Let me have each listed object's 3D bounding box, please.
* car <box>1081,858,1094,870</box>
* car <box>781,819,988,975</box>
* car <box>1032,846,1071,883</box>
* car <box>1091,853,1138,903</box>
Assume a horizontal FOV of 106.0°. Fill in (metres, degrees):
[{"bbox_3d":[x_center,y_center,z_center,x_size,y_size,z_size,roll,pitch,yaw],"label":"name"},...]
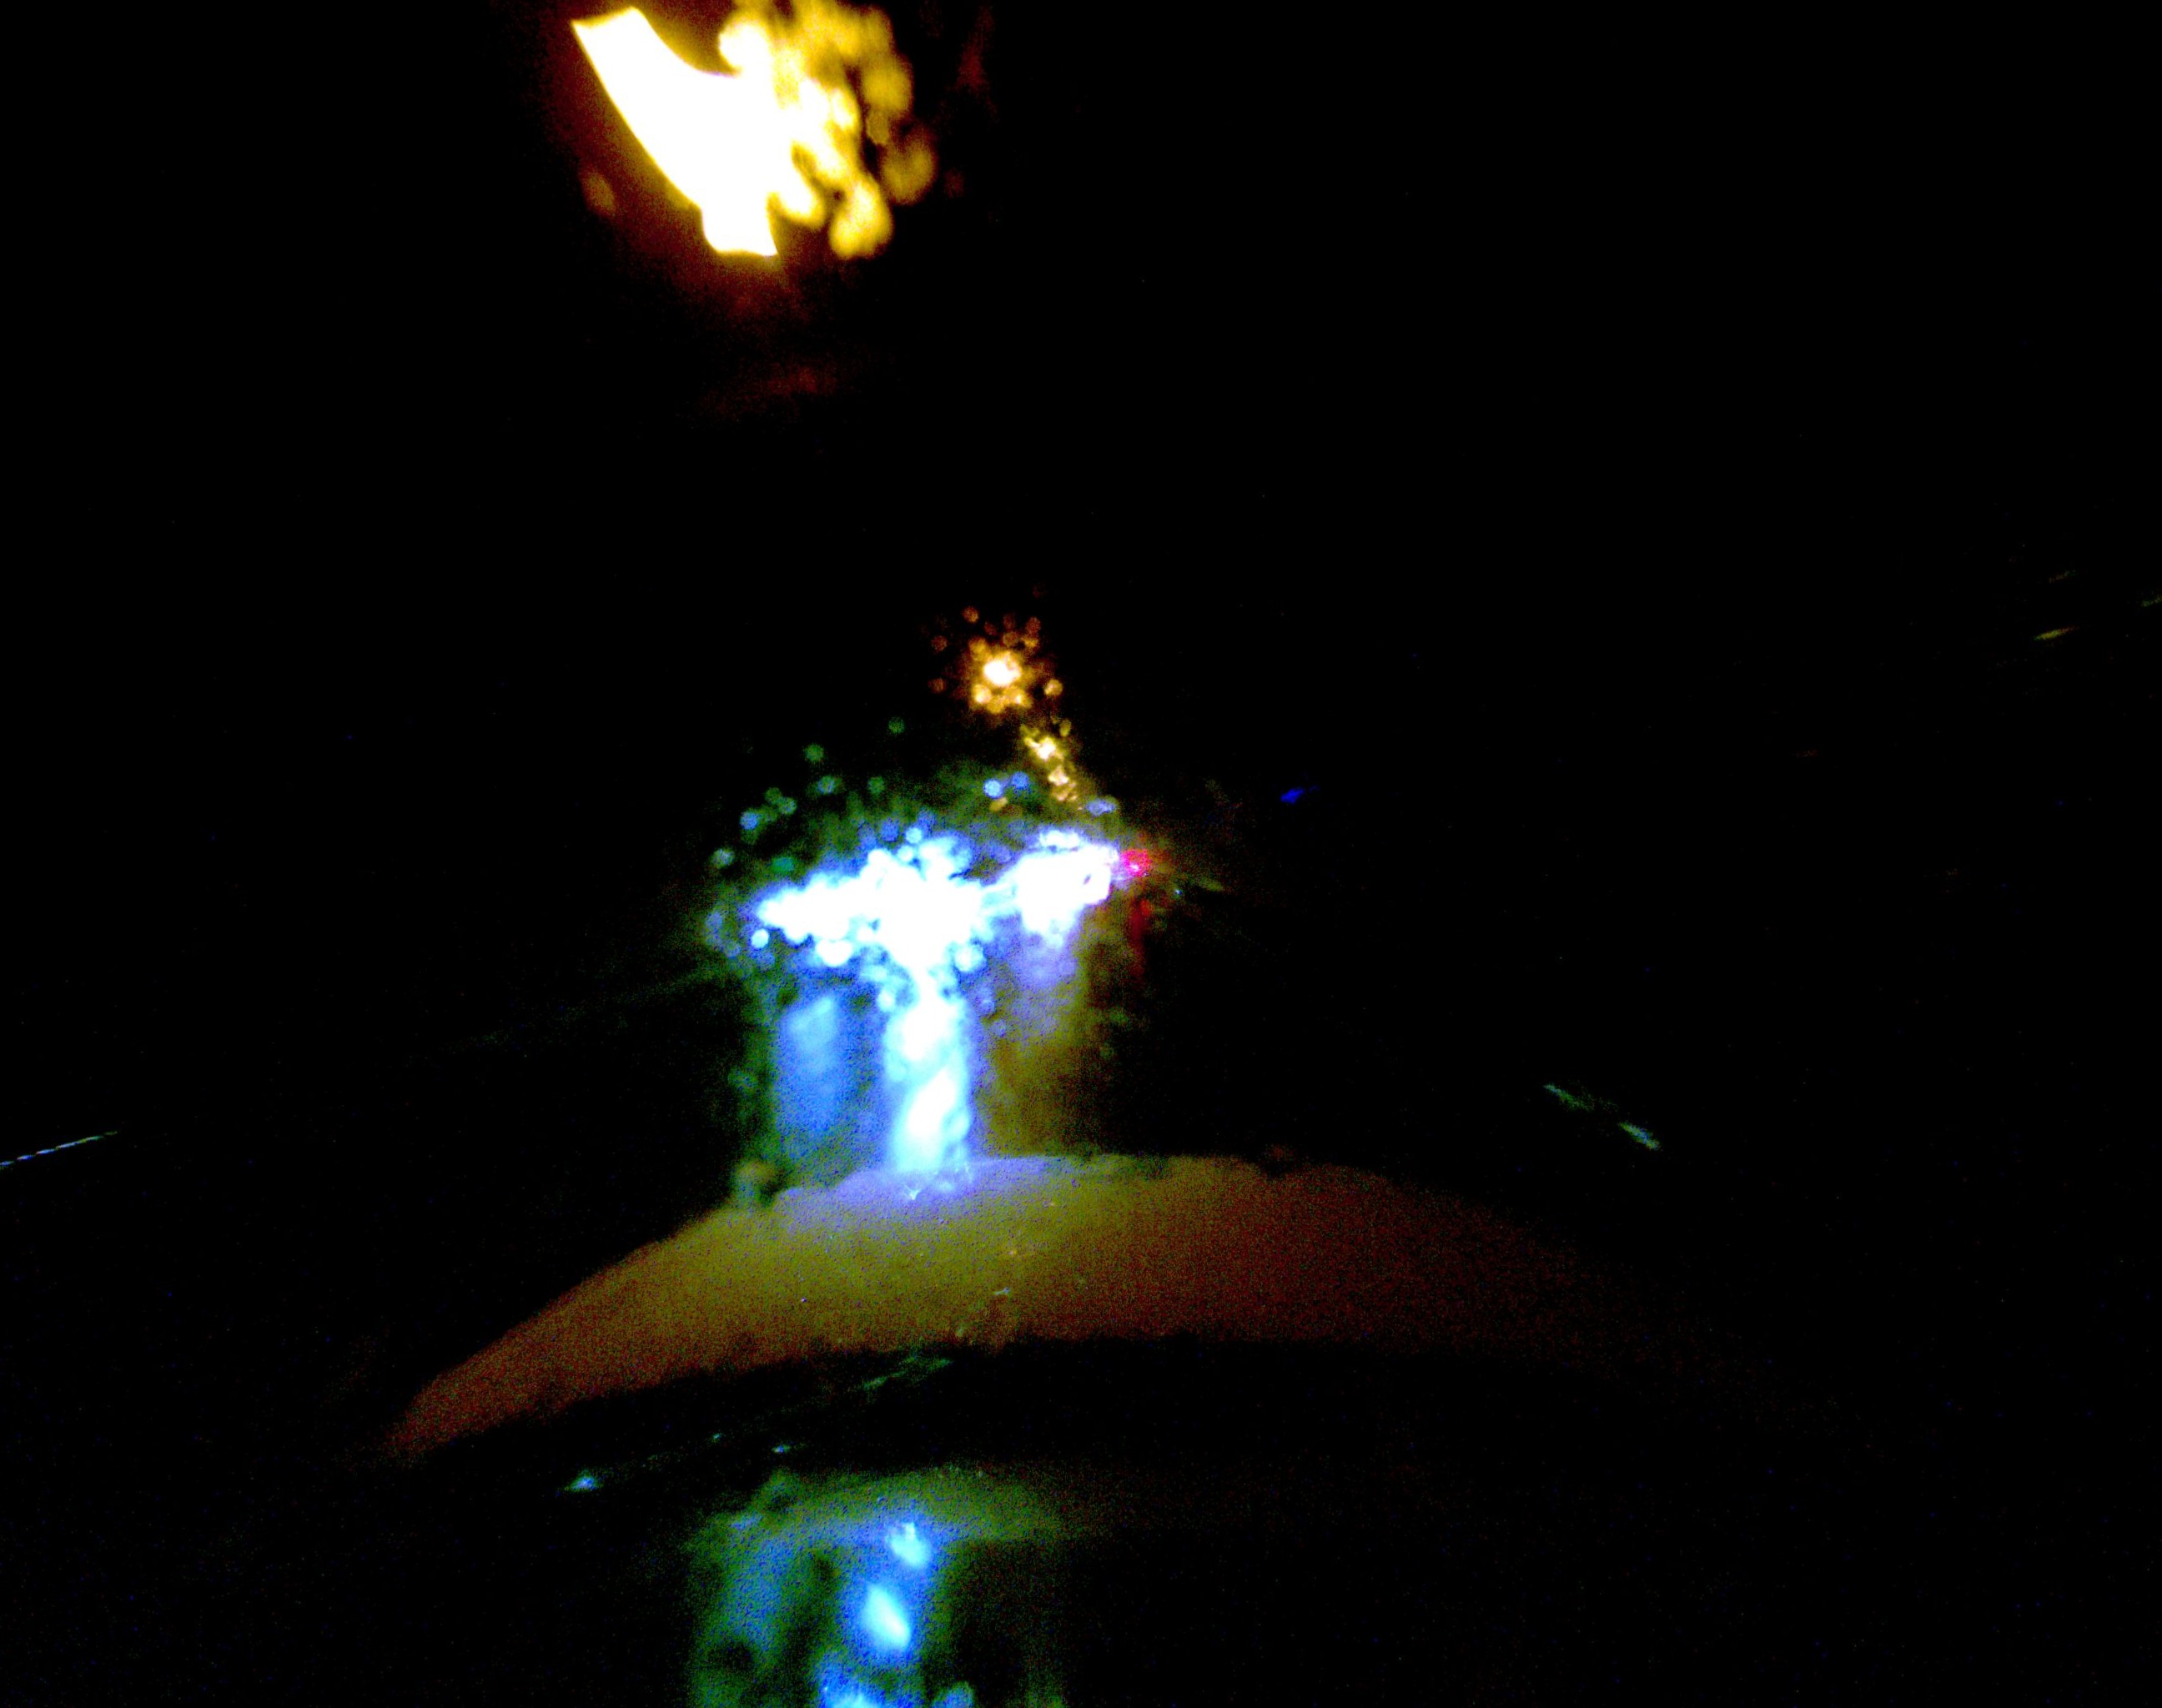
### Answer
[{"bbox_3d":[0.980,1.390,115.054,1.629,1.535,3.648,-2,0,2],"label":"car"},{"bbox_3d":[-2.746,0.530,12.582,1.834,1.899,4.611,-2,0,2],"label":"car"},{"bbox_3d":[-1.626,0.534,45.935,1.754,1.899,4.611,-2,0,2],"label":"car"},{"bbox_3d":[1.289,0.869,31.565,1.629,1.758,4.148,-2,0,2],"label":"car"}]
